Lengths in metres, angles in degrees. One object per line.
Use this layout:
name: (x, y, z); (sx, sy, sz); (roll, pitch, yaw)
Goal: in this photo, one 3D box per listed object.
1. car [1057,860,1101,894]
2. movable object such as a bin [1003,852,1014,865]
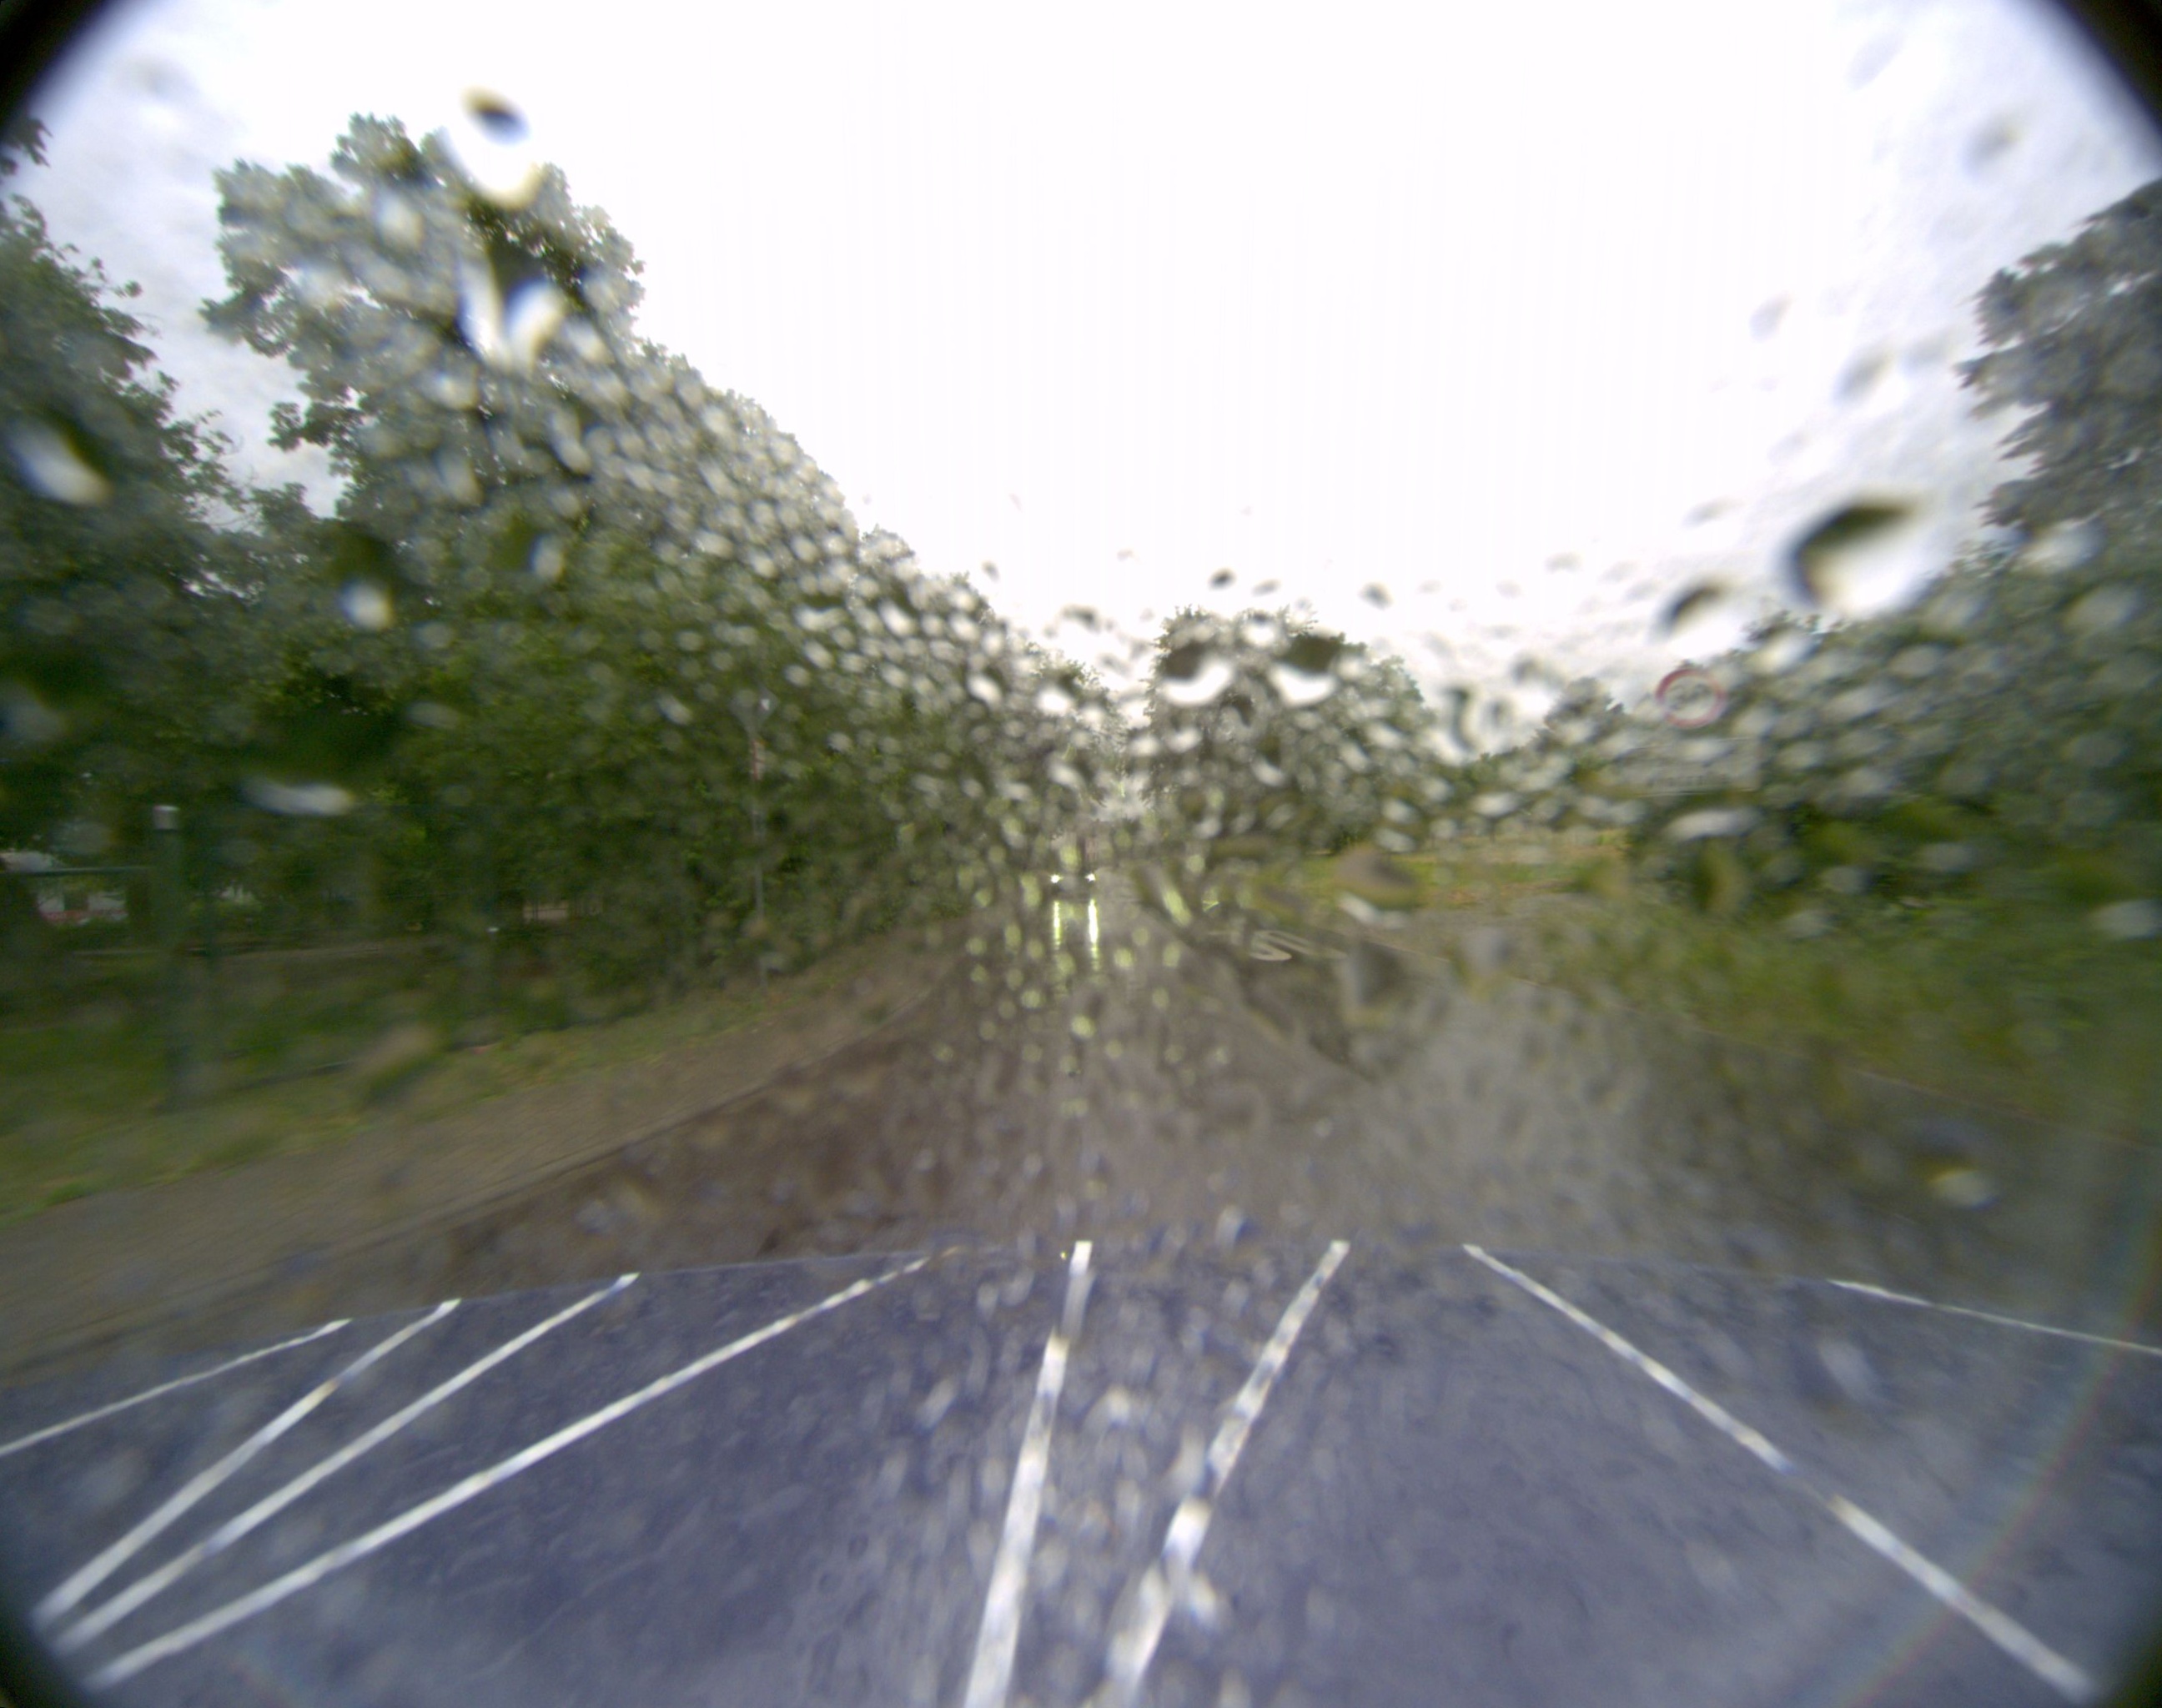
car: (-0.129, 0.946, 32.221); (1.667, 1.290, 3.517); (-3, 0, -2)
movable object such as a bin: (-8.525, 0.556, 89.339); (1.238, 1.428, 0.795); (3, 1, -2)
